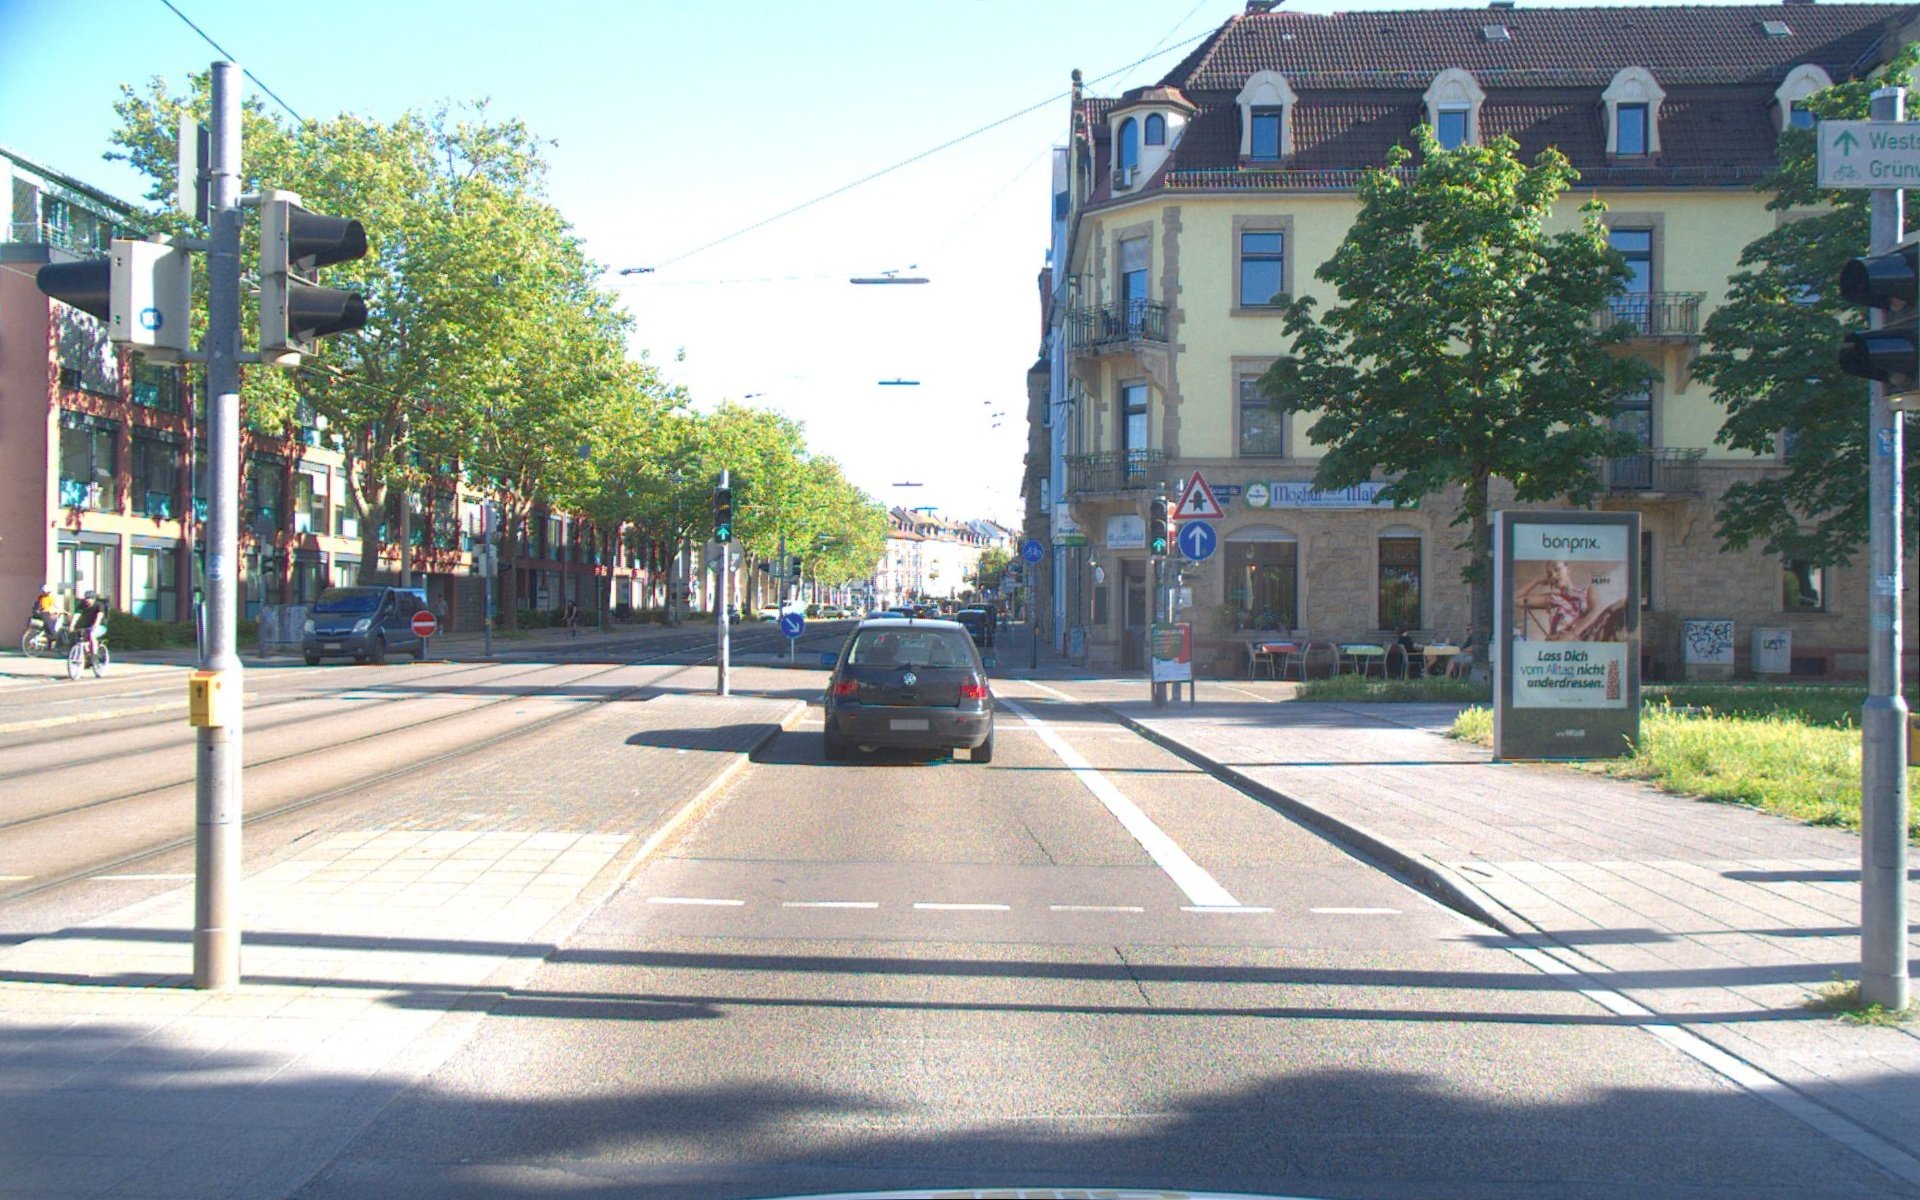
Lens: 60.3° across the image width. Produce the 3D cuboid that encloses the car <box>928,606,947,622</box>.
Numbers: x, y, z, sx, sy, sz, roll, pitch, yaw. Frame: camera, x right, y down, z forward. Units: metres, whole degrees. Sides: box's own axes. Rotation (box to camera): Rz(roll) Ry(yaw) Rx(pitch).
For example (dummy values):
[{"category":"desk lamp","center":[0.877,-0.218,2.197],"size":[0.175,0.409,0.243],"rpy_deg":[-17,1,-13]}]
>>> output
[{"category":"car","center":[-2.023,1.273,152.062],"size":[1.602,1.498,3.730],"rpy_deg":[0,0,1]}]

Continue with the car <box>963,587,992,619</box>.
[{"category":"car","center":[1.088,0.191,102.584],"size":[1.716,1.888,4.816],"rpy_deg":[1,0,1]}]

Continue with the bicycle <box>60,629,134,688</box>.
[{"category":"bicycle","center":[-17.569,1.177,33.704],"size":[0.575,1.133,1.826],"rpy_deg":[-1,0,-1]}]

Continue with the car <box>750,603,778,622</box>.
[{"category":"car","center":[-17.749,1.148,150.053],"size":[1.970,1.600,4.693],"rpy_deg":[2,0,0]}]

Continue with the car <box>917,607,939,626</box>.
[{"category":"car","center":[-2.503,1.292,130.722],"size":[1.602,1.498,3.730],"rpy_deg":[0,0,1]}]

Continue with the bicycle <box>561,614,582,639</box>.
[{"category":"bicycle","center":[-17.252,1.165,73.478],"size":[0.632,1.061,1.922],"rpy_deg":[2,0,-7]}]

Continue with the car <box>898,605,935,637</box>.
[{"category":"car","center":[-2.086,1.012,80.510],"size":[1.602,1.498,3.730],"rpy_deg":[0,0,1]}]

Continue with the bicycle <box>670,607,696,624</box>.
[{"category":"bicycle","center":[-22.165,1.238,132.325],"size":[1.967,1.301,0.664],"rpy_deg":[2,0,1]}]

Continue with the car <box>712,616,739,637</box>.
[{"category":"car","center":[-17.838,2.033,125.829],"size":[1.476,1.479,3.463],"rpy_deg":[-1,-2,1]}]

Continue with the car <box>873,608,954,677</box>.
[{"category":"car","center":[-1.085,0.996,40.190],"size":[1.712,1.564,3.892],"rpy_deg":[0,0,2]}]

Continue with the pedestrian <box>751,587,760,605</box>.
[{"category":"pedestrian","center":[-21.162,-0.409,171.012],"size":[0.780,1.852,0.670],"rpy_deg":[2,0,1]}]

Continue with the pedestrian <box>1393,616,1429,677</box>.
[{"category":"pedestrian","center":[10.538,1.088,38.633],"size":[0.625,1.383,0.702],"rpy_deg":[2,0,2]}]

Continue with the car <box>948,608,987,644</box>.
[{"category":"car","center":[0.355,1.100,71.561],"size":[1.621,1.508,4.000],"rpy_deg":[1,0,1]}]

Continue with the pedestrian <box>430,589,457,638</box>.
[{"category":"pedestrian","center":[-21.898,0.564,70.138],"size":[0.893,2.049,0.780],"rpy_deg":[2,0,-7]}]

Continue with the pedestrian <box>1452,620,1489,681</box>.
[{"category":"pedestrian","center":[11.940,1.181,38.688],"size":[0.625,1.383,0.702],"rpy_deg":[2,0,2]}]

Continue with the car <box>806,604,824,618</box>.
[{"category":"car","center":[-16.192,1.253,184.646],"size":[1.538,1.560,3.572],"rpy_deg":[0,-1,1]}]

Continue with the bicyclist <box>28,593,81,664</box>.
[{"category":"bicyclist","center":[-22.346,0.699,40.818],"size":[0.593,1.722,0.931],"rpy_deg":[2,0,26]}]

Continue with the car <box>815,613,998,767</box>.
[{"category":"car","center":[-0.496,0.861,17.477],"size":[1.713,1.399,4.000],"rpy_deg":[0,0,0]}]

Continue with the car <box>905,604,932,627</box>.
[{"category":"car","center":[-2.743,0.996,110.445],"size":[1.602,1.498,3.730],"rpy_deg":[0,0,1]}]

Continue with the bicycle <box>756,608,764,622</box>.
[{"category":"bicycle","center":[-17.478,1.311,144.487],"size":[0.569,1.230,1.652],"rpy_deg":[2,0,-5]}]

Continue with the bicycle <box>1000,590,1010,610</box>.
[{"category":"bicycle","center":[2.727,-0.013,100.106],"size":[0.504,1.159,2.259],"rpy_deg":[-1,0,1]}]

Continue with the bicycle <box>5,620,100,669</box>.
[{"category":"bicycle","center":[-22.370,1.085,40.798],"size":[0.619,1.149,2.033],"rpy_deg":[2,0,26]}]

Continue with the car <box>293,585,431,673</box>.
[{"category":"car","center":[-15.538,0.689,43.284],"size":[1.980,2.048,5.246],"rpy_deg":[-1,1,-4]}]

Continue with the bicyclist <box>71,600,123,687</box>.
[{"category":"bicyclist","center":[-17.579,0.875,33.689],"size":[0.575,1.741,0.901],"rpy_deg":[-1,0,-1]}]

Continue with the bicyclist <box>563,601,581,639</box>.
[{"category":"bicyclist","center":[-17.243,0.870,73.468],"size":[0.632,1.639,0.780],"rpy_deg":[2,0,-7]}]
